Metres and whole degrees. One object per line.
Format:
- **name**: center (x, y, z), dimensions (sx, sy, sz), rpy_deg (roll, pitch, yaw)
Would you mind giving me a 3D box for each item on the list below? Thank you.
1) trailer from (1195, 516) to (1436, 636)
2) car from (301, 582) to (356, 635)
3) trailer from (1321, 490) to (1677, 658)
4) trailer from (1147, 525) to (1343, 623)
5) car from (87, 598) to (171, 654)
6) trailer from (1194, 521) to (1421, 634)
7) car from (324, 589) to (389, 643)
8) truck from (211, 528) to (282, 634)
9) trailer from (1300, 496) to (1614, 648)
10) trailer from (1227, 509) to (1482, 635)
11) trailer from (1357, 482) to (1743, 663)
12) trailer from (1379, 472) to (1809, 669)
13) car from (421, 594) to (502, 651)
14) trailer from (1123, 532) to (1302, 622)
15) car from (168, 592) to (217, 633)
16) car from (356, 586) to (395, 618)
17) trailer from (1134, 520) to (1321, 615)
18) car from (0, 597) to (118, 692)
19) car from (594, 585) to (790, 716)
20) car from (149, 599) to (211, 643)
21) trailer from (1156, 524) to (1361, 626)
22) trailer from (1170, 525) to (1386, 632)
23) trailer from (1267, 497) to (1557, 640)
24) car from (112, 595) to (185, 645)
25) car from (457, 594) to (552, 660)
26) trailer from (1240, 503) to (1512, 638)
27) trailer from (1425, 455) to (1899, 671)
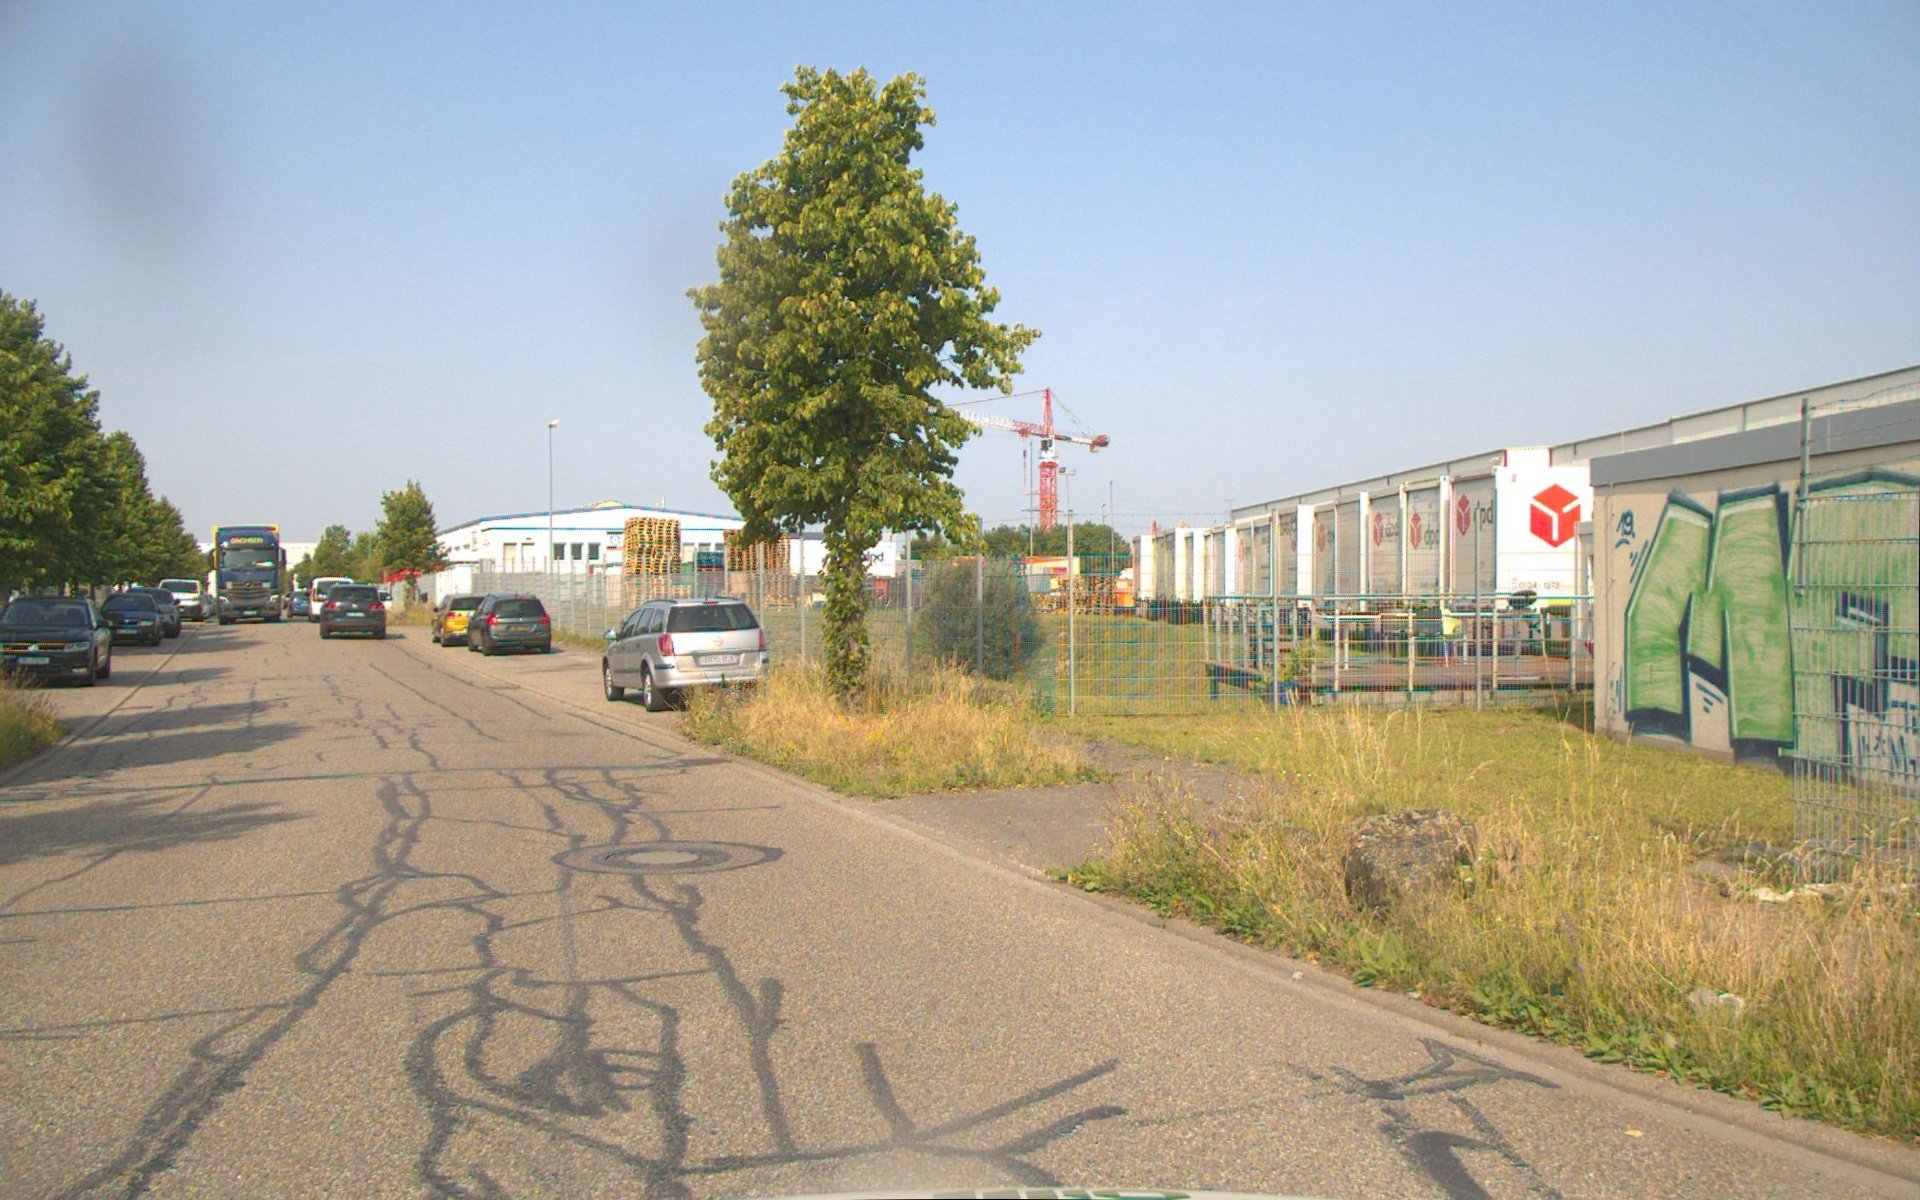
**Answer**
- **trailer**: center (12.487, -0.837, 58.467), dimensions (7.806, 3.961, 2.773), rpy_deg (1, 1, -5)
- **car**: center (-26.755, 0.347, 70.161), dimensions (2.090, 2.147, 4.596), rpy_deg (-1, 0, -20)
- **trailer**: center (13.679, -0.661, 42.317), dimensions (8.145, 3.961, 2.773), rpy_deg (1, 1, -5)
- **trailer**: center (12.194, -1.098, 71.181), dimensions (7.806, 3.961, 2.773), rpy_deg (1, 1, -5)
- **car**: center (-23.840, 0.725, 47.571), dimensions (1.808, 1.522, 4.022), rpy_deg (1, 0, -22)
- **trailer**: center (12.907, -0.830, 61.800), dimensions (7.806, 3.961, 2.773), rpy_deg (1, 1, -5)
- **car**: center (-19.162, 0.482, 52.483), dimensions (1.854, 1.614, 4.087), rpy_deg (-1, 0, -21)
- **truck**: center (-31.137, -0.825, 72.224), dimensions (2.465, 4.217, 10.303), rpy_deg (-3, 1, -23)
- **trailer**: center (13.812, -0.774, 46.295), dimensions (7.876, 3.961, 2.773), rpy_deg (1, 1, -5)
- **trailer**: center (13.152, -0.939, 55.474), dimensions (7.806, 3.961, 2.773), rpy_deg (1, 1, -5)
- **trailer**: center (13.877, -0.649, 39.261), dimensions (8.145, 3.961, 2.773), rpy_deg (1, 1, -5)
- **trailer**: center (13.763, -0.631, 36.240), dimensions (8.369, 3.961, 2.773), rpy_deg (1, 1, -5)
- **car**: center (-14.450, 0.620, 47.819), dimensions (1.693, 1.480, 4.155), rpy_deg (-3, 1, -24)
- **trailer**: center (11.727, -1.078, 77.275), dimensions (7.806, 3.961, 2.740), rpy_deg (1, 1, -5)
- **car**: center (-34.756, 0.550, 74.974), dimensions (1.808, 1.793, 4.022), rpy_deg (1, 0, -22)
- **car**: center (-31.859, 0.084, 90.104), dimensions (1.692, 1.709, 3.920), rpy_deg (0, 0, -24)
- **trailer**: center (11.953, -1.451, 74.229), dimensions (7.806, 3.961, 2.740), rpy_deg (1, 1, -5)
- **car**: center (-17.165, 0.787, 31.203), dimensions (1.876, 1.654, 4.419), rpy_deg (1, 0, -22)
- **car**: center (-4.035, 0.656, 24.306), dimensions (1.775, 1.654, 4.417), rpy_deg (-3, 1, -23)
- **car**: center (-28.575, 0.754, 60.666), dimensions (1.808, 1.522, 4.022), rpy_deg (1, 0, -22)
- **trailer**: center (12.262, -1.037, 68.231), dimensions (7.806, 3.961, 2.773), rpy_deg (1, 1, -5)
- **trailer**: center (12.400, -0.845, 64.850), dimensions (7.806, 3.961, 2.773), rpy_deg (1, 1, -5)
- **trailer**: center (13.374, -0.914, 49.248), dimensions (7.806, 3.961, 2.773), rpy_deg (1, 1, -5)
- **car**: center (-26.192, 0.625, 53.469), dimensions (1.808, 1.522, 4.022), rpy_deg (1, 0, -22)
- **car**: center (-11.853, 0.657, 42.917), dimensions (1.693, 1.541, 3.972), rpy_deg (-3, 1, -25)
- **trailer**: center (13.063, -0.918, 52.249), dimensions (7.806, 3.961, 2.773), rpy_deg (1, 1, -5)
- **trailer**: center (13.914, -0.715, 33.137), dimensions (8.369, 3.961, 2.773), rpy_deg (1, 1, -5)
